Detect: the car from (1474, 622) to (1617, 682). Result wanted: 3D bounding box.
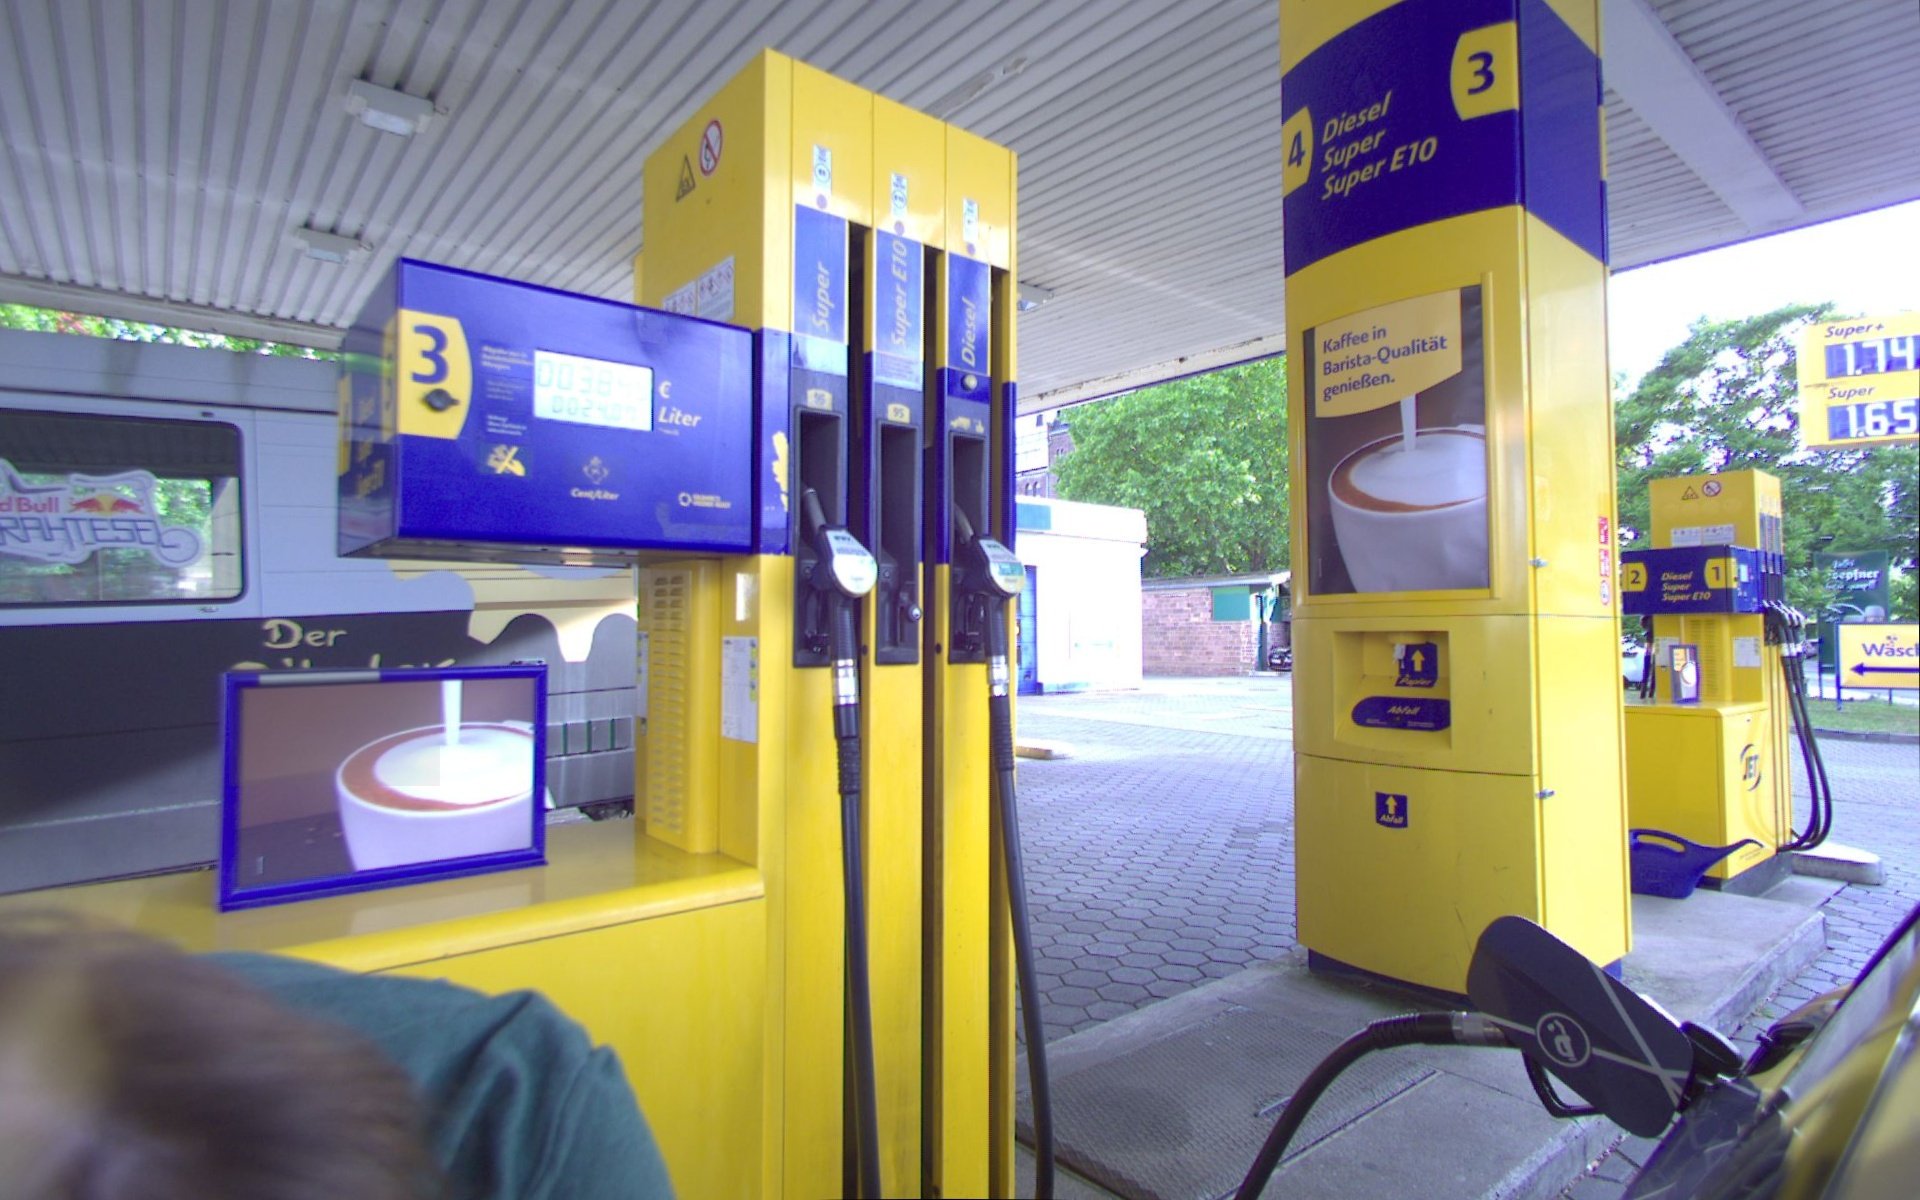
[{"bbox_3d":[17.852,1.591,30.806,4.303,1.622,1.776,4,-4,-28],"label":"car"}]

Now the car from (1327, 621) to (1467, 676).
[{"bbox_3d":[13.892,1.533,32.141,4.303,1.622,1.777,2,-1,-28],"label":"car"}]

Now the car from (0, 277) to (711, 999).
[{"bbox_3d":[-4.104,0.161,4.899,5.197,2.726,2.258,1,-2,-39],"label":"car"}]

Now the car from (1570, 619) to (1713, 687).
[{"bbox_3d":[18.361,1.448,27.207,4.308,1.622,1.774,4,-4,-35],"label":"car"}]

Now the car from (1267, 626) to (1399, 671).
[{"bbox_3d":[12.696,1.656,34.433,4.303,1.393,1.777,2,-1,-28],"label":"car"}]

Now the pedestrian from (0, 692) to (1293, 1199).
[{"bbox_3d":[-0.329,0.749,0.551,0.662,1.298,0.751,0,0,-41],"label":"pedestrian"}]
